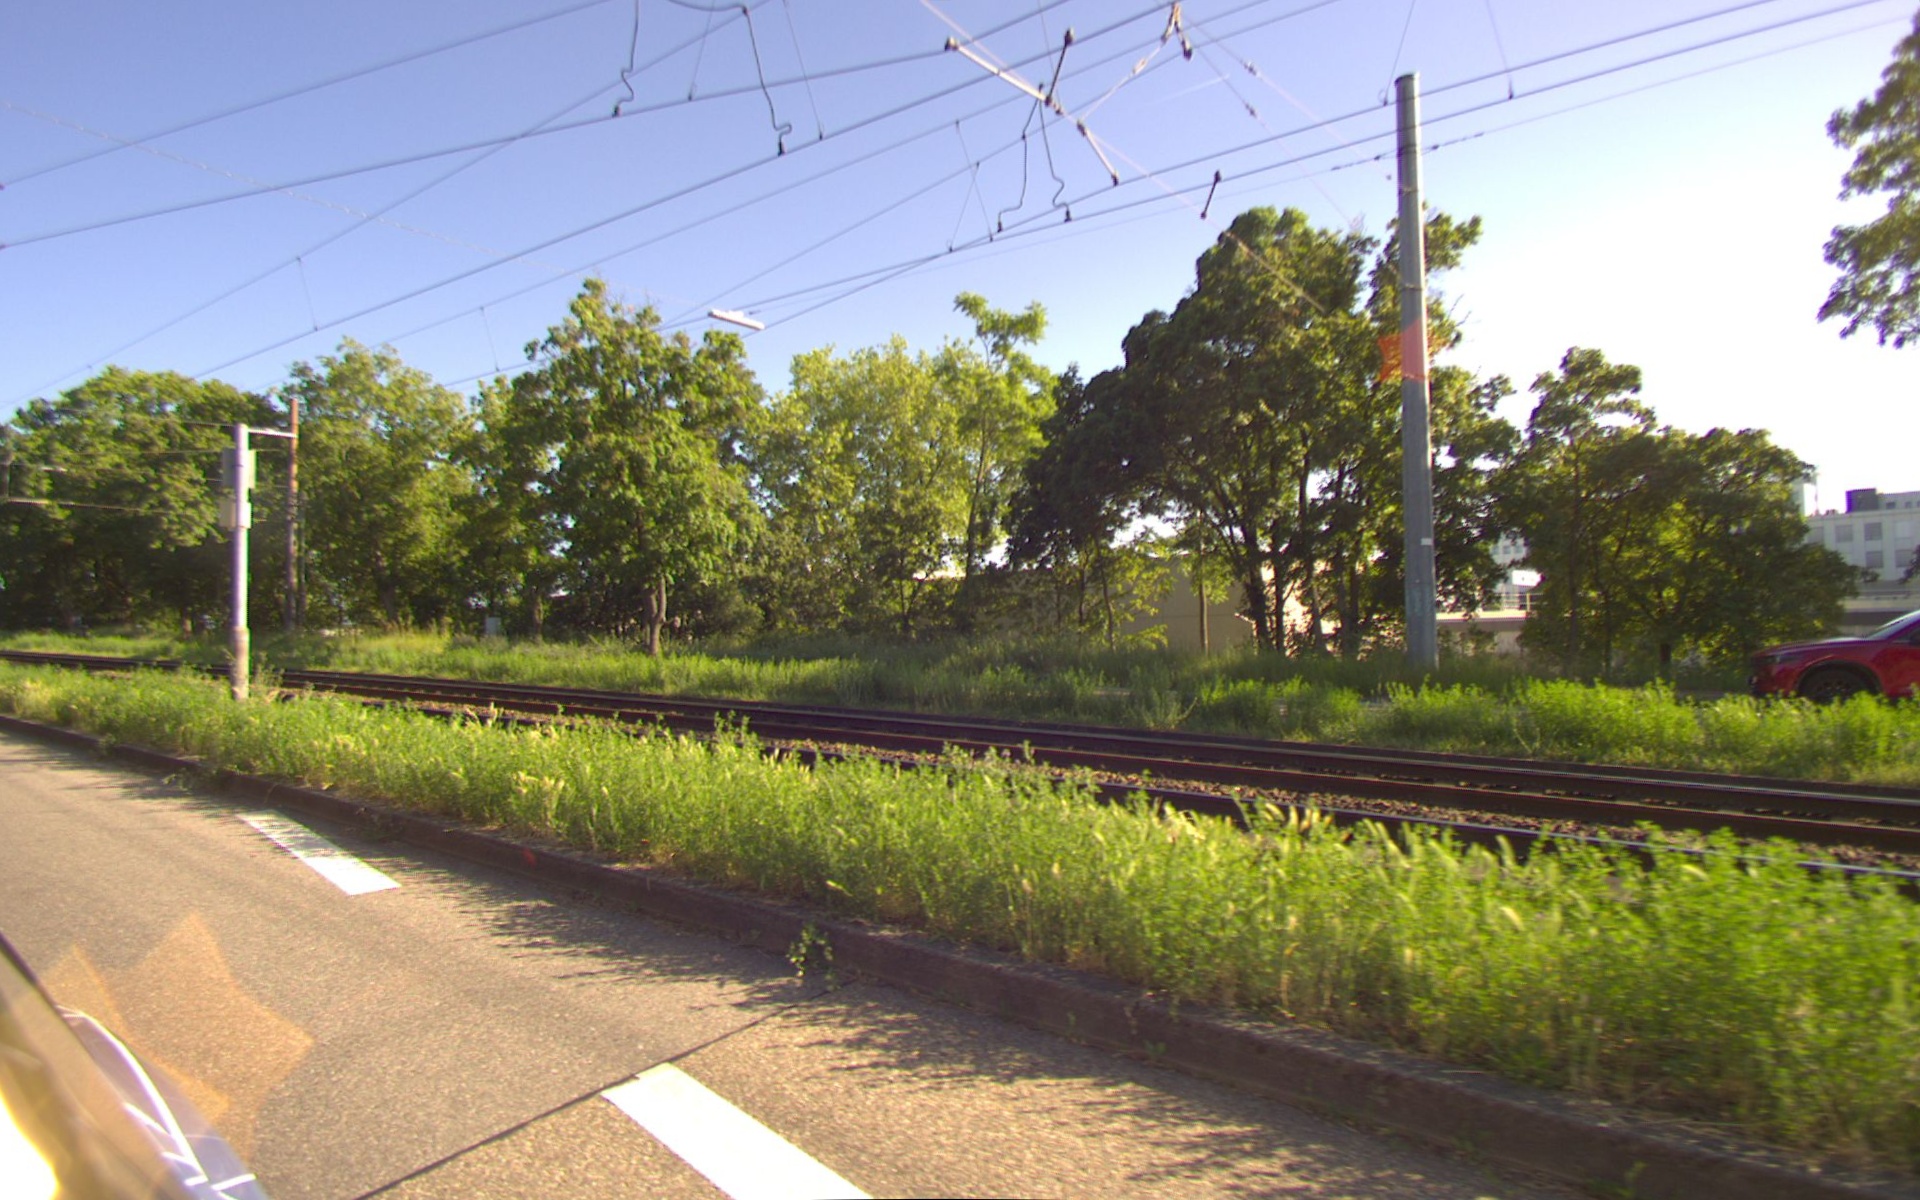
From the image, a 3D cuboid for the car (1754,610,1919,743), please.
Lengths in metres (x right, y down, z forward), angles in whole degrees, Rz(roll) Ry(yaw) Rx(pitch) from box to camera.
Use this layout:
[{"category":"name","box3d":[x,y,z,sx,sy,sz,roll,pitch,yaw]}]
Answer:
[{"category":"car","box3d":[13.494,0.988,13.536,4.460,1.715,1.985,-2,-2,38]}]

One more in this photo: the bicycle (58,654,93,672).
[{"category":"bicycle","box3d":[-47.847,3.418,54.743,2.531,0.921,0.811,-2,-2,34]}]

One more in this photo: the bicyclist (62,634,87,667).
[{"category":"bicyclist","box3d":[-47.945,2.708,54.782,0.900,1.749,0.812,-2,-2,34]}]
